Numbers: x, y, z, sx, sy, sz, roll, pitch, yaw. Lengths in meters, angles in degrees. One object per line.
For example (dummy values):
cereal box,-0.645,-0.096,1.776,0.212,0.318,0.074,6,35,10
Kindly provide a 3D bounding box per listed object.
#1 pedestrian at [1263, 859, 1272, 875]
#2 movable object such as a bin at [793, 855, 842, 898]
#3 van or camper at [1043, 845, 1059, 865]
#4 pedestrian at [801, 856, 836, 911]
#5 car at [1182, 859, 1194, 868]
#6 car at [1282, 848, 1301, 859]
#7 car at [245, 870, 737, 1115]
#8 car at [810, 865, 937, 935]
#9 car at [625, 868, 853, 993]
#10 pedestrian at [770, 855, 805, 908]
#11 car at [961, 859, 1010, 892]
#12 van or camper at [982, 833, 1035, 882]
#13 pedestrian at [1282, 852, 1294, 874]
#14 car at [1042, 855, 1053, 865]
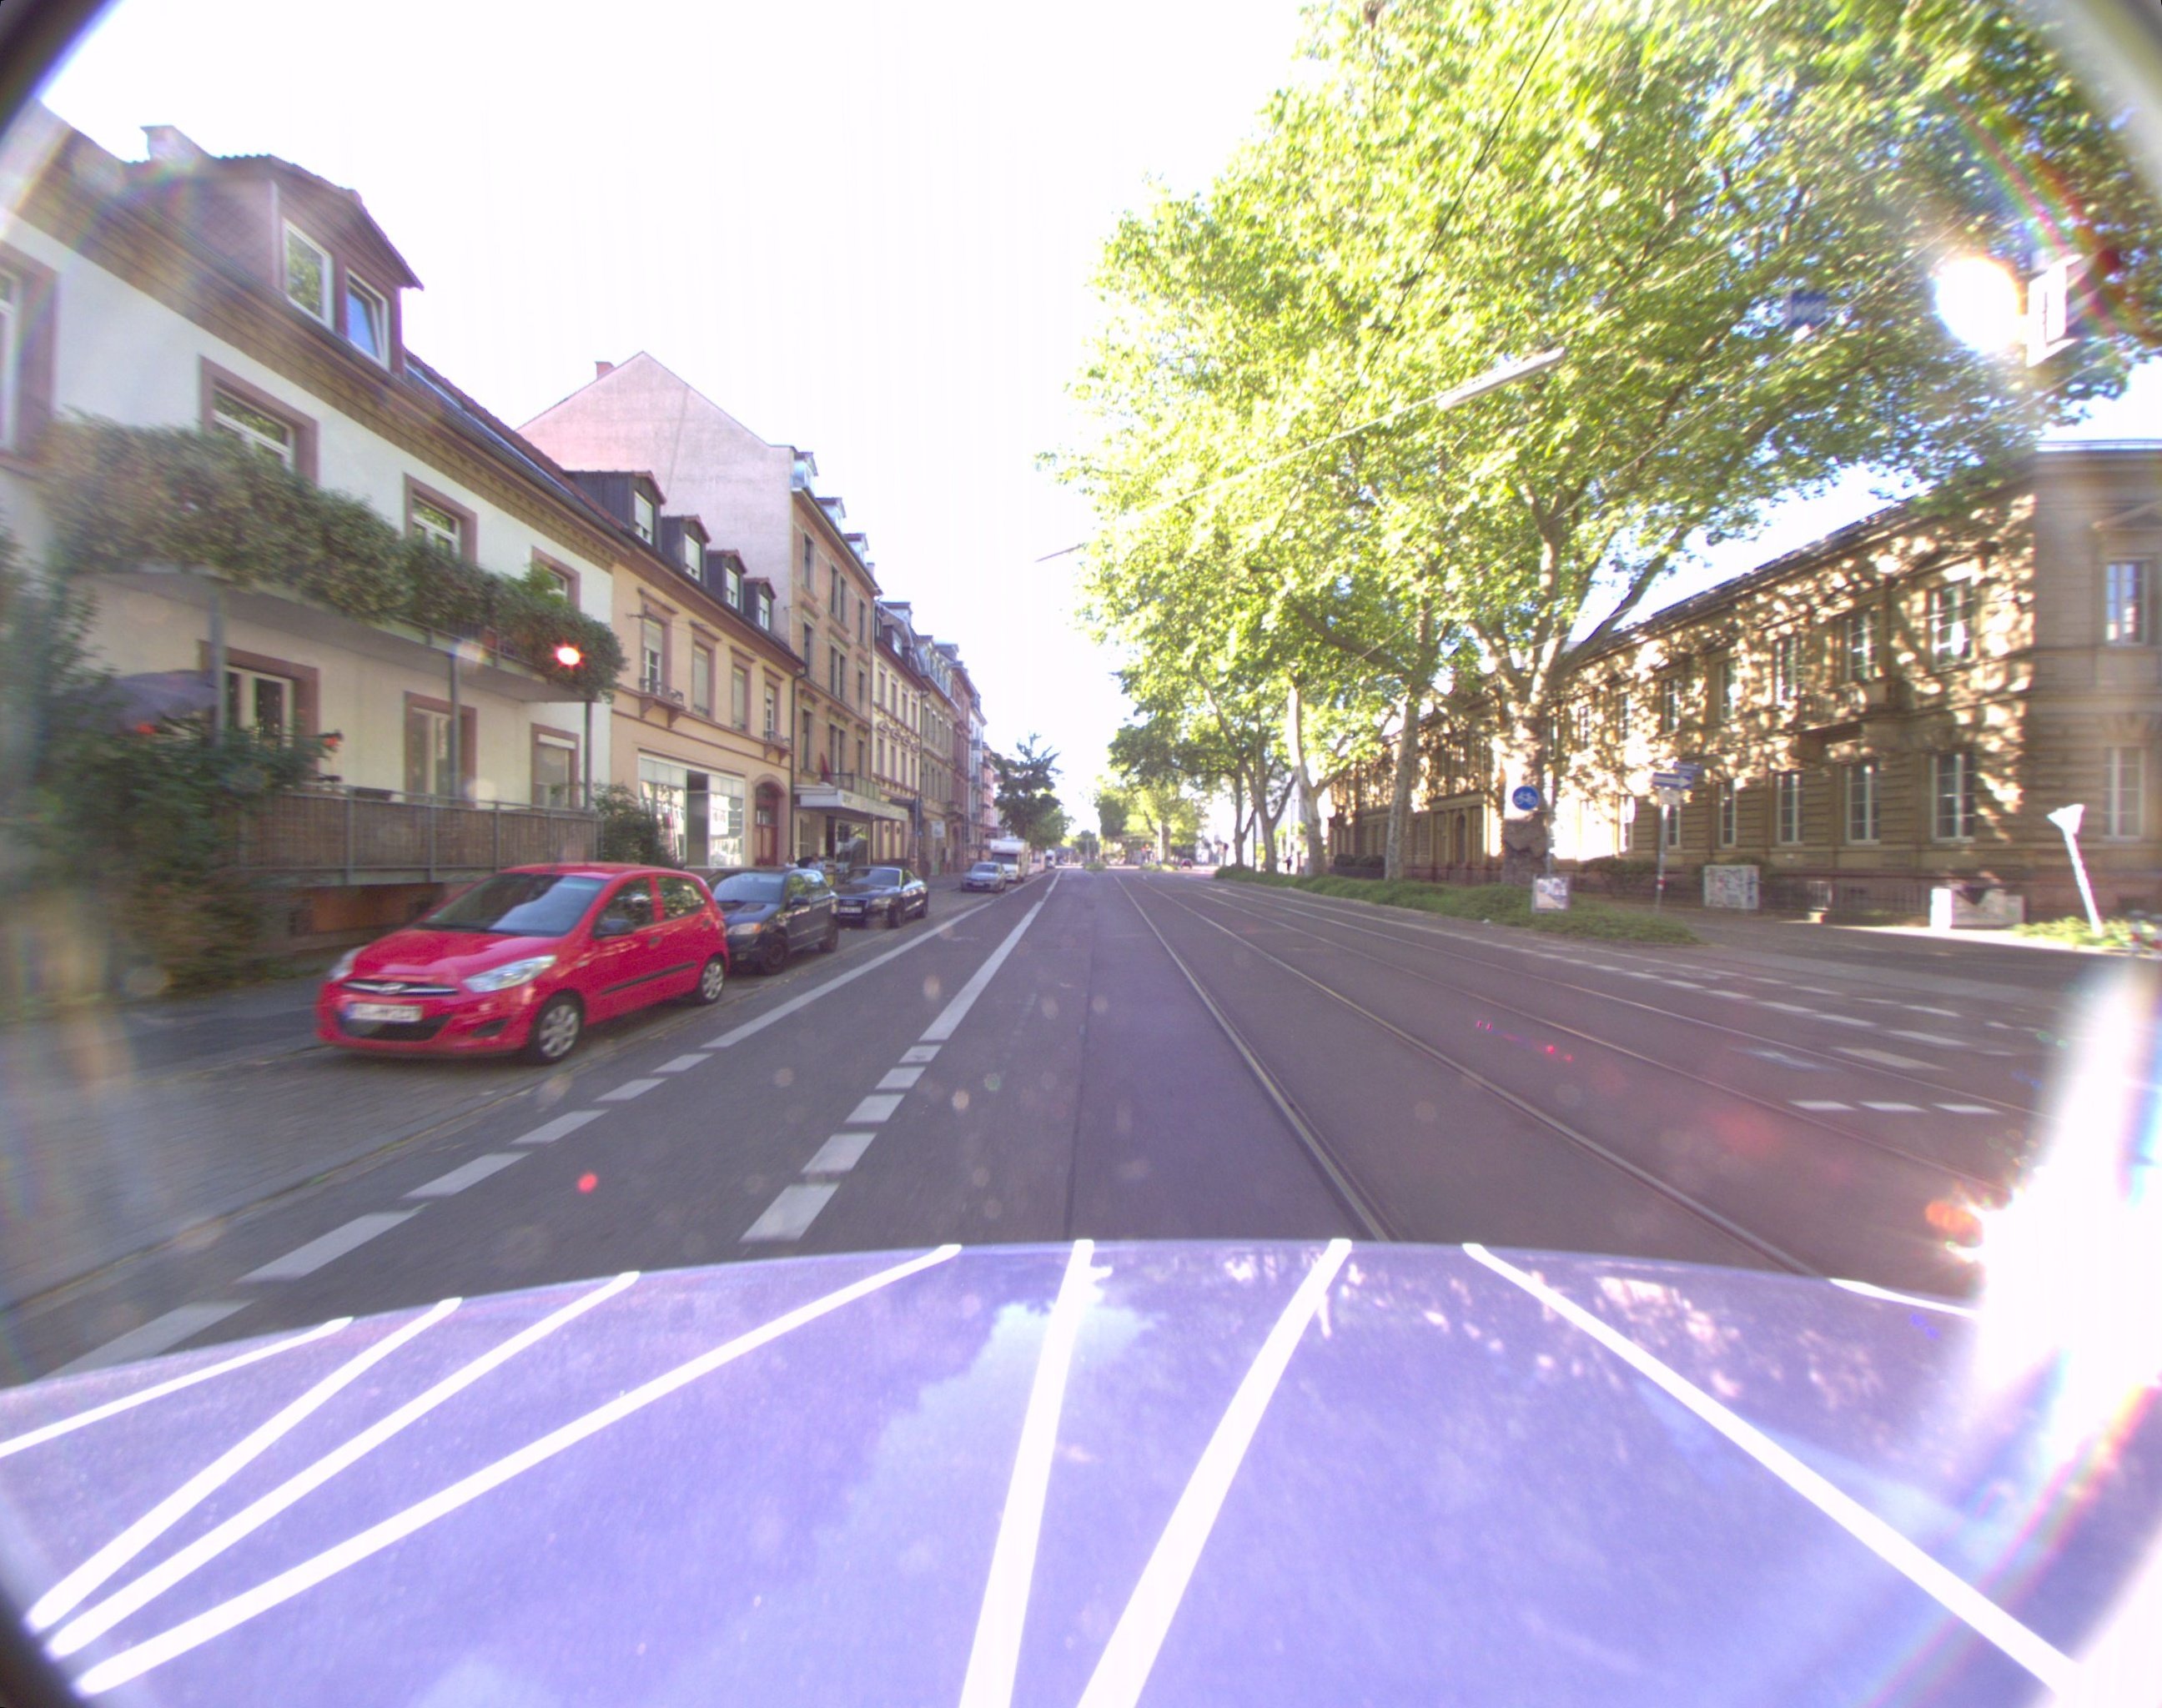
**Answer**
pedestrian,19.194,1.338,78.321,0.673,1.687,0.661,0,1,-7
movable object such as a bin,-9.462,0.783,27.372,1.296,1.511,1.286,0,1,0
van or camper,-4.969,0.162,126.361,2.173,3.074,7.290,1,0,0
pedestrian,-7.358,0.803,21.337,0.662,1.496,0.866,1,1,0
car,19.140,1.638,135.979,1.870,1.620,4.562,1,-1,5
car,33.281,-0.066,120.279,1.852,1.807,4.000,0,0,0
car,-4.842,0.982,6.968,1.638,1.537,3.576,1,0,2
car,-4.865,1.010,18.488,1.698,1.384,4.495,1,0,2
car,-4.908,1.004,11.541,1.655,1.448,3.868,1,0,1
pedestrian,-8.261,0.760,21.412,0.659,1.474,0.785,0,1,0
car,-4.669,1.026,37.832,1.814,1.426,4.664,1,0,0
van or camper,-4.835,0.207,52.297,2.483,2.955,7.884,4,0,2
pedestrian,17.345,0.716,63.629,0.721,1.838,0.837,0,1,-7
car,-5.085,0.961,116.148,1.656,1.439,3.800,1,0,-1
